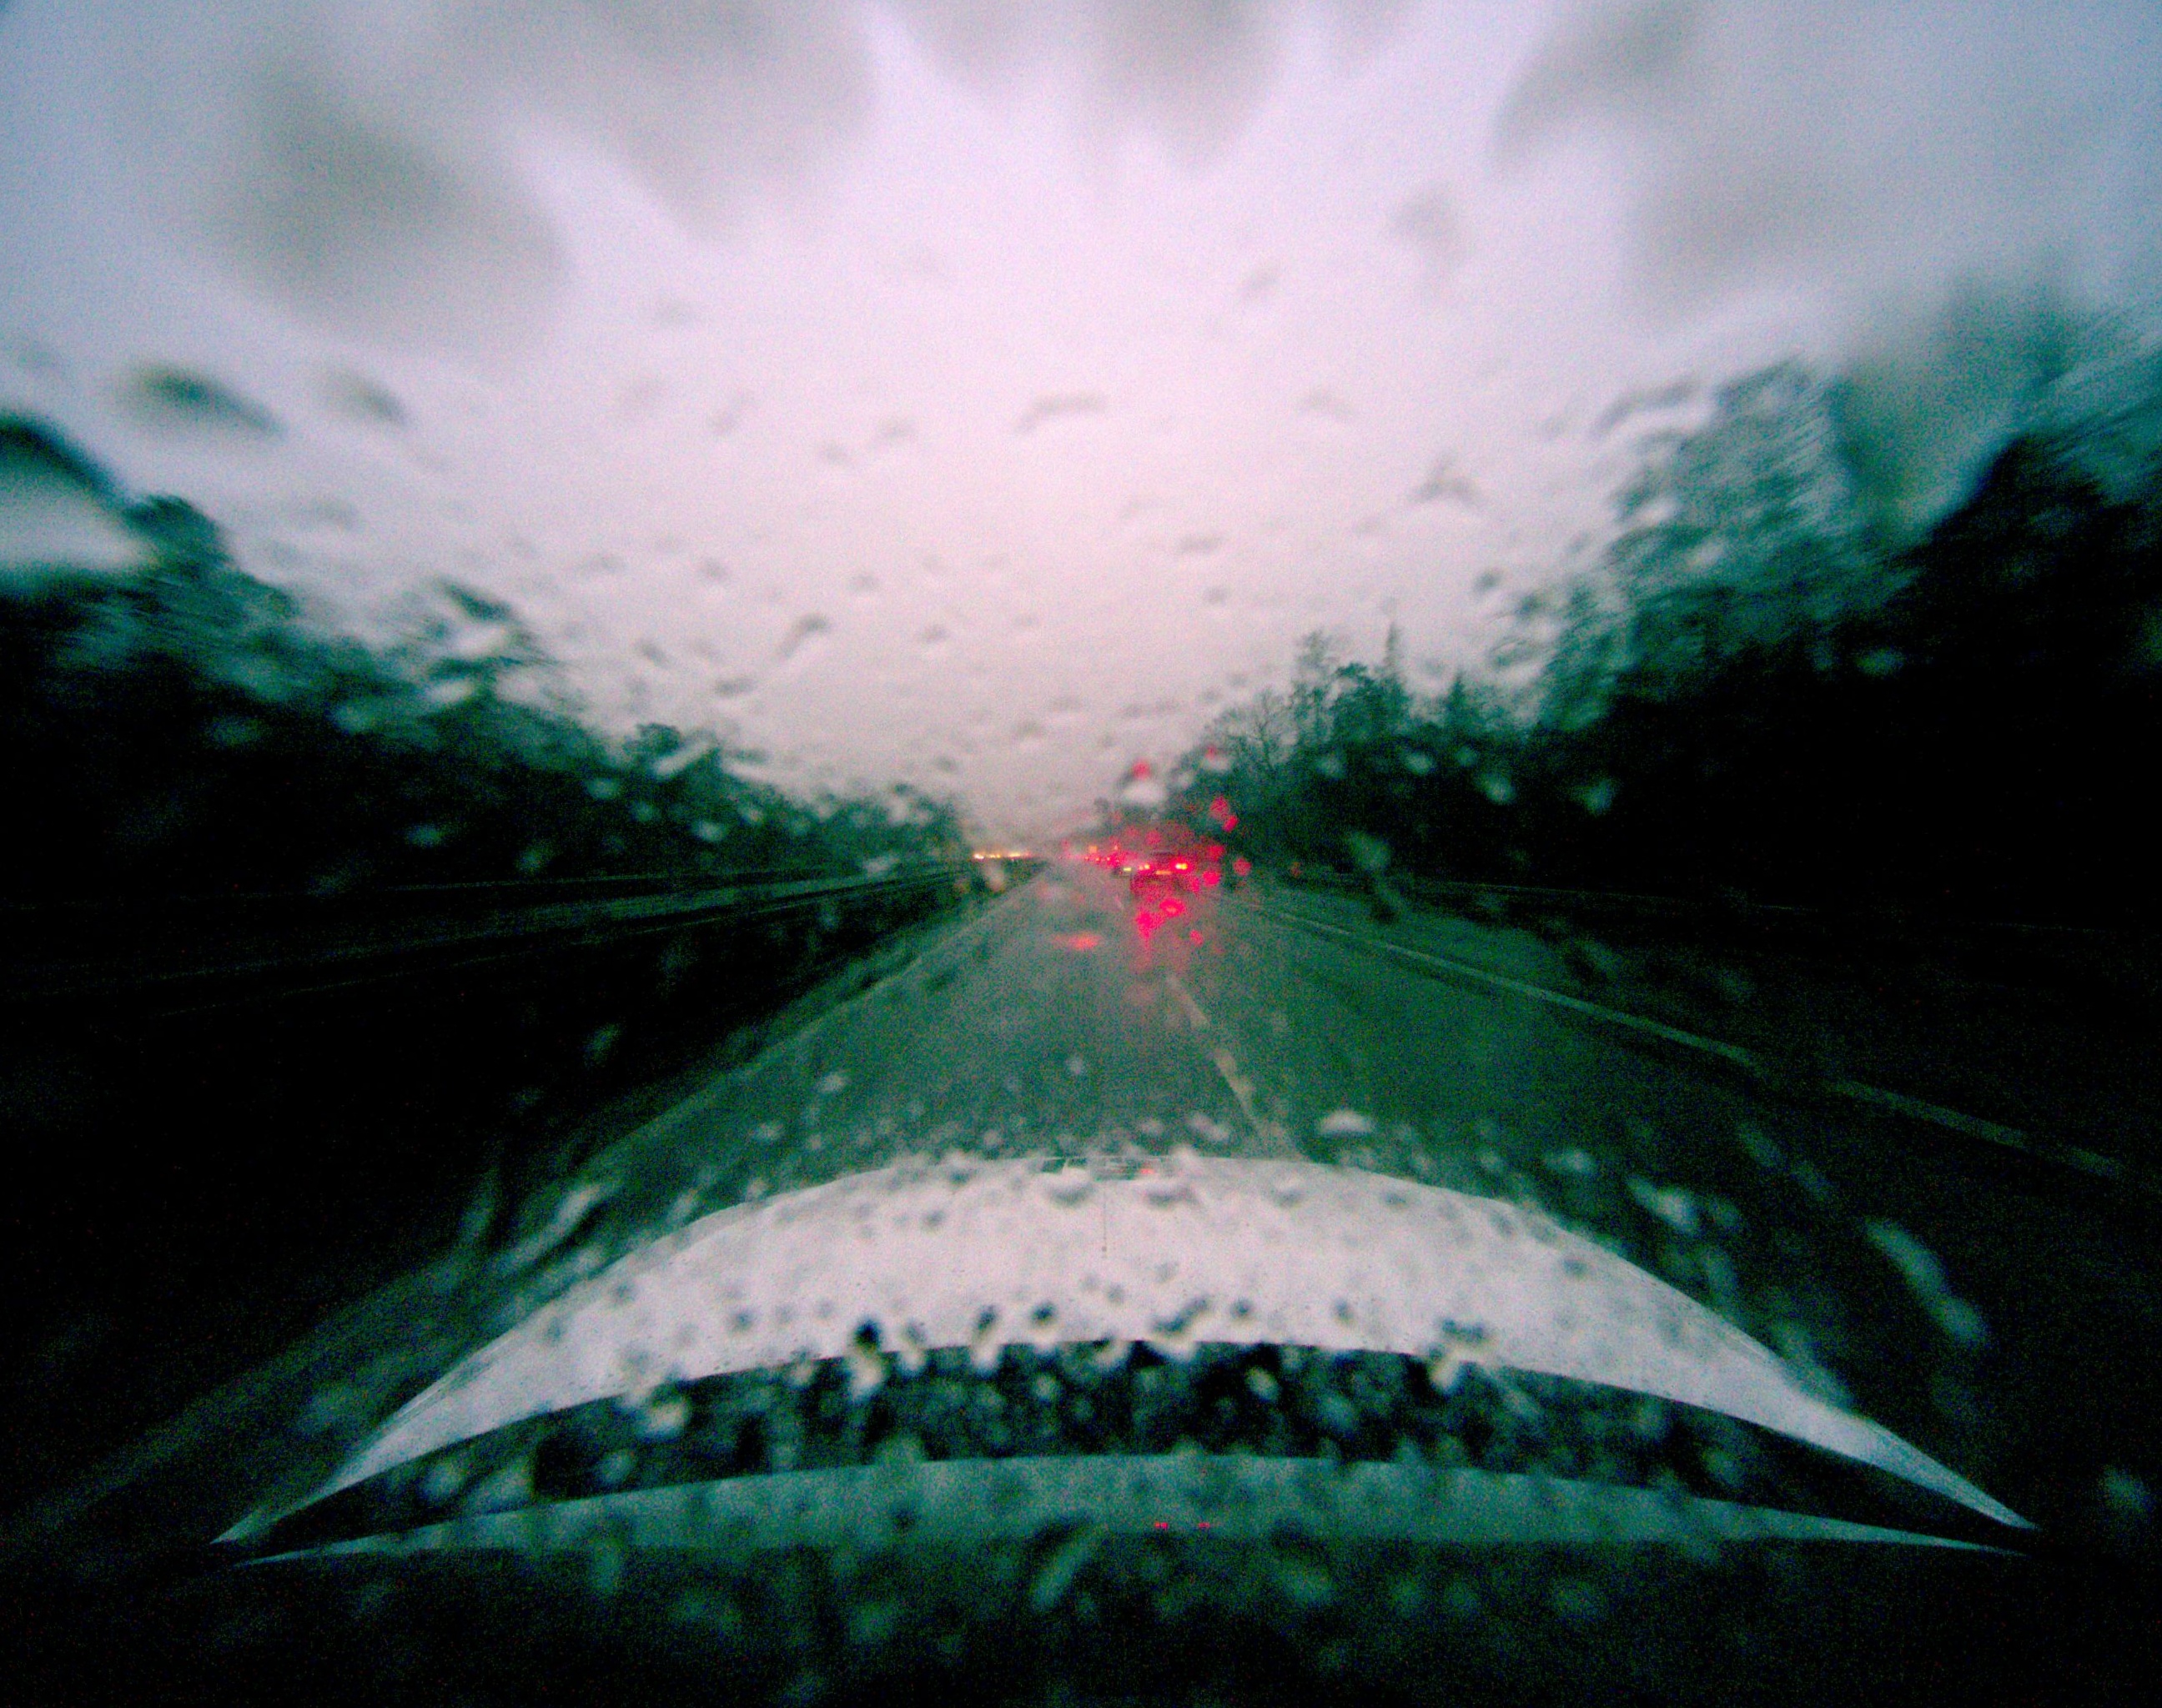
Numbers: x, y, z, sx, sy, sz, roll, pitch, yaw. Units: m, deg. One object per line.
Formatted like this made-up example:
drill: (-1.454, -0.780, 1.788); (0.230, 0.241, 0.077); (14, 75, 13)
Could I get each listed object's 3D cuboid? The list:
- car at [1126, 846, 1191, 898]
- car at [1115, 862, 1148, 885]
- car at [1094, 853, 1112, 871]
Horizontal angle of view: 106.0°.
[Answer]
car: (2.692, 0.611, 29.178); (1.985, 1.715, 3.830); (0, 0, 1)
car: (3.316, 1.291, 53.884); (1.986, 1.420, 4.001); (1, -1, 1)
car: (2.536, 0.937, 93.629); (1.987, 2.014, 4.000); (0, 0, 1)
